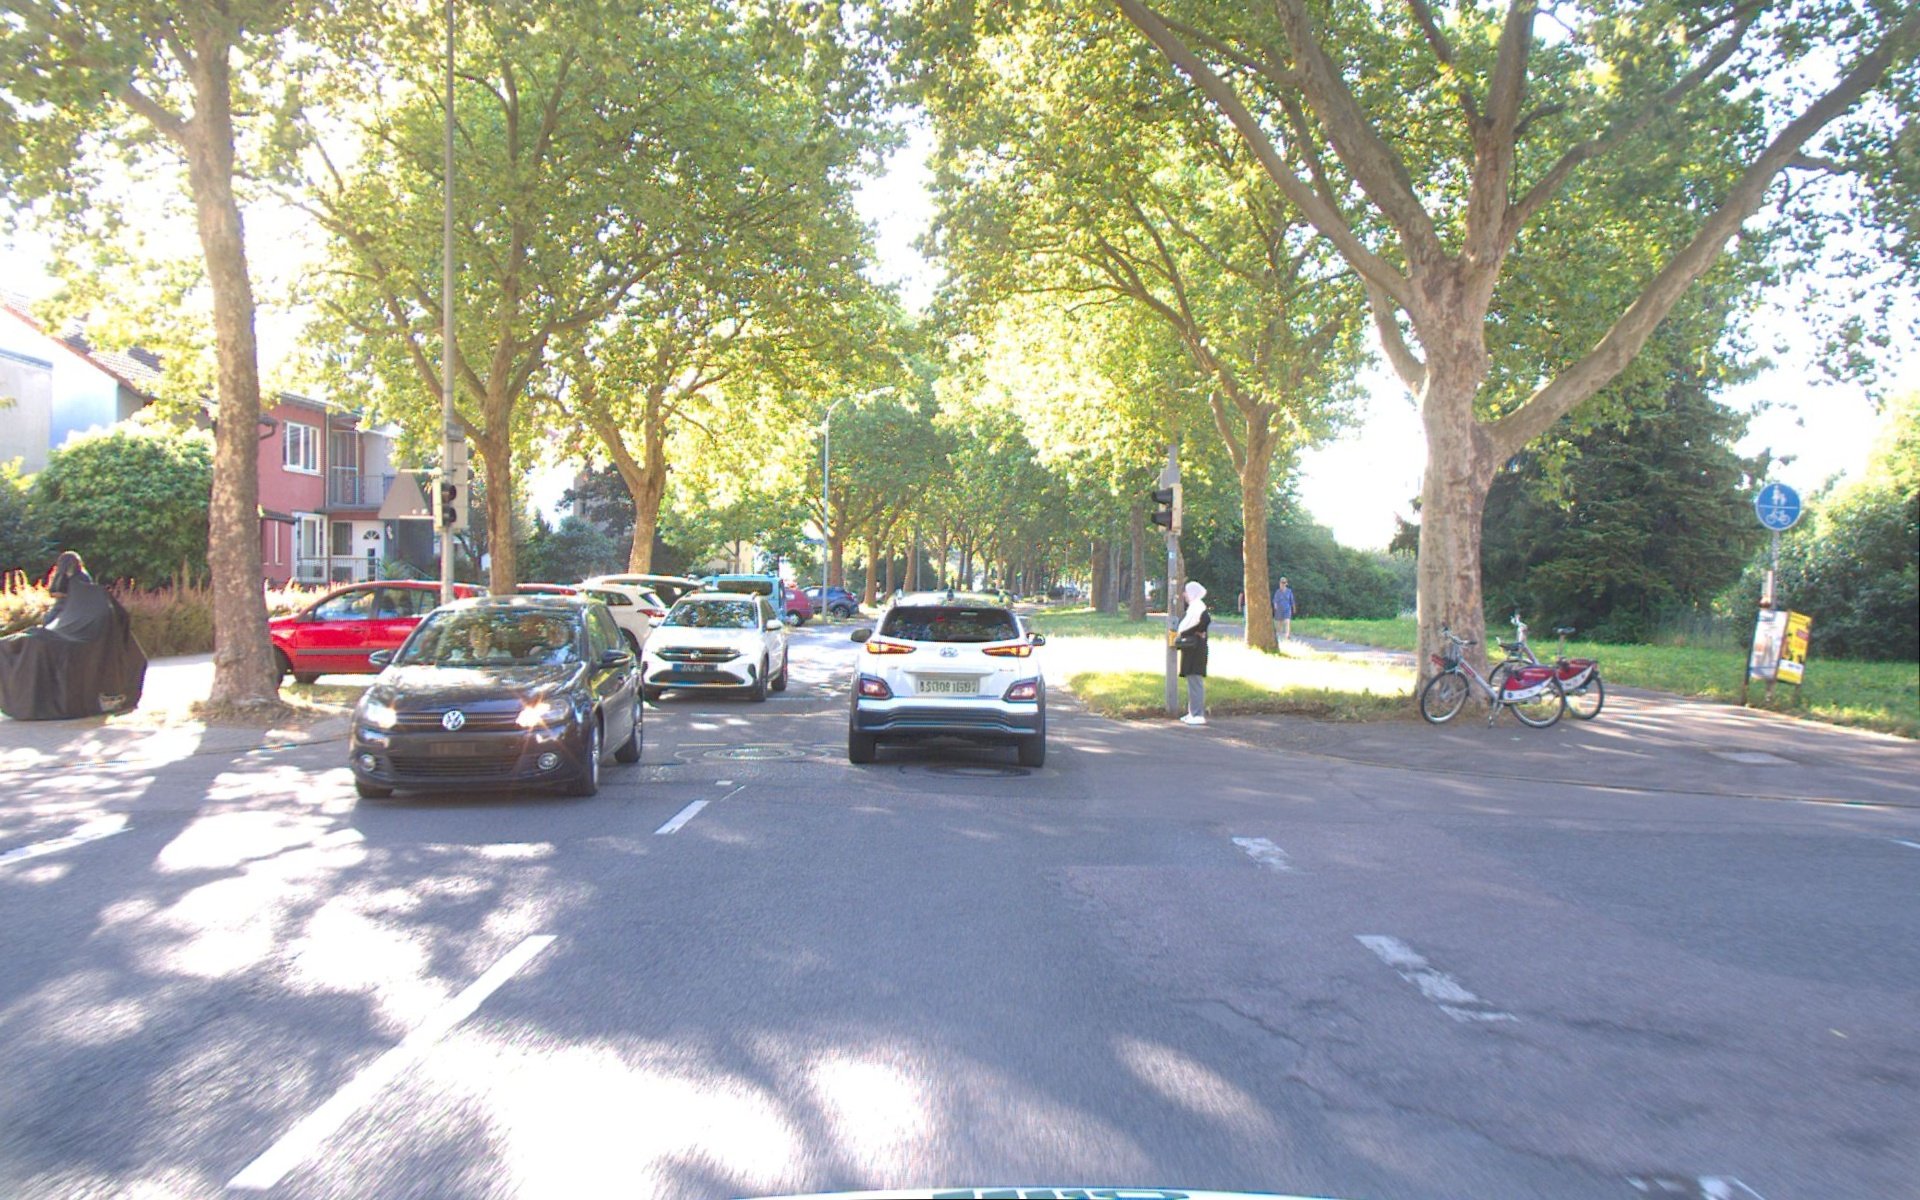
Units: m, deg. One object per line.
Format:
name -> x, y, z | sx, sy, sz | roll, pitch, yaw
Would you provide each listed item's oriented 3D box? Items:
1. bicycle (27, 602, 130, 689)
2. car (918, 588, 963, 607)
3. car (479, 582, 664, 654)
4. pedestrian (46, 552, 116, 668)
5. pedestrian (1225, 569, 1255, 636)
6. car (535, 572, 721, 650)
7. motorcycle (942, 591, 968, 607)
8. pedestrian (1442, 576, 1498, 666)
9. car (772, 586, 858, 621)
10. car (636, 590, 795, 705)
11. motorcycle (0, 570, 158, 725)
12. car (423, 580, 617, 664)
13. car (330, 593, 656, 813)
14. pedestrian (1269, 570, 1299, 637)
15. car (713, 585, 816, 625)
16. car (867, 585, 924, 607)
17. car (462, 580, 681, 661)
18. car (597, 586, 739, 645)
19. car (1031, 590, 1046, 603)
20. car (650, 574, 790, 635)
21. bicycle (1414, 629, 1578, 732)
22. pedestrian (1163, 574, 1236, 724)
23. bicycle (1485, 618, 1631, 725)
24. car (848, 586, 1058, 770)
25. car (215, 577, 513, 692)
bicycle -> -12.331, 0.612, 23.205 | 0.499, 1.059, 2.150 | 0, 3, -7
car -> -1.812, -0.226, 153.603 | 4.096, 1.612, 2.000 | 1, 0, 2
car -> -8.640, 0.392, 36.981 | 3.681, 1.509, 1.754 | 1, 0, 0
pedestrian -> -12.327, 0.122, 23.211 | 0.499, 1.558, 1.033 | 0, 3, -7
pedestrian -> 7.947, 0.064, 46.965 | 0.745, 1.878, 0.788 | 0, 0, 3
car -> -7.803, 0.249, 39.164 | 4.008, 1.746, 1.831 | 1, 0, 0
motorcycle -> -0.463, -0.117, 155.902 | 2.336, 1.412, 0.648 | 1, 1, 1
pedestrian -> 9.656, 0.396, 31.360 | 0.763, 1.678, 0.938 | 0, 0, -1
car -> -6.813, 0.165, 77.921 | 3.907, 1.545, 1.817 | 1, 0, -1
car -> -3.507, 0.626, 24.427 | 1.681, 1.527, 4.094 | 1, 0, 0
motorcycle -> -10.389, 0.506, 19.493 | 0.961, 1.666, 2.386 | 0, 2, -8
car -> -8.431, 0.409, 31.906 | 3.272, 1.505, 1.695 | 2, 0, -2
car -> -3.538, 0.694, 13.273 | 1.692, 1.489, 4.065 | 0, 0, -4
pedestrian -> 9.154, 0.101, 46.722 | 0.739, 1.879, 0.803 | 0, 0, 3
car -> -7.540, 0.186, 64.042 | 3.793, 1.545, 1.665 | 0, 0, -1
car -> -4.517, -0.290, 116.361 | 3.746, 1.339, 1.791 | 2, 0, 3
car -> -7.950, 0.409, 34.132 | 4.077, 1.527, 1.875 | 1, 0, -2
car -> -8.043, 0.409, 45.723 | 3.567, 1.543, 1.782 | 1, 0, 0
car -> 9.110, -0.383, 191.267 | 1.654, 1.490, 3.695 | 1, 0, 2
car -> -7.803, 0.145, 54.097 | 4.297, 1.856, 1.995 | 1, 0, -1
bicycle -> 5.978, 0.875, 18.482 | 1.685, 1.053, 0.445 | 1, 3, 35
pedestrian -> 2.888, 0.575, 20.005 | 0.622, 1.749, 0.824 | -2, 1, -8
bicycle -> 6.992, 0.805, 19.449 | 0.438, 1.101, 1.996 | -2, 2, -20
car -> -0.133, 0.679, 16.291 | 1.798, 1.583, 3.998 | 0, 0, -2
car -> -8.662, 0.484, 24.293 | 3.689, 1.561, 1.831 | 1, 0, -3
